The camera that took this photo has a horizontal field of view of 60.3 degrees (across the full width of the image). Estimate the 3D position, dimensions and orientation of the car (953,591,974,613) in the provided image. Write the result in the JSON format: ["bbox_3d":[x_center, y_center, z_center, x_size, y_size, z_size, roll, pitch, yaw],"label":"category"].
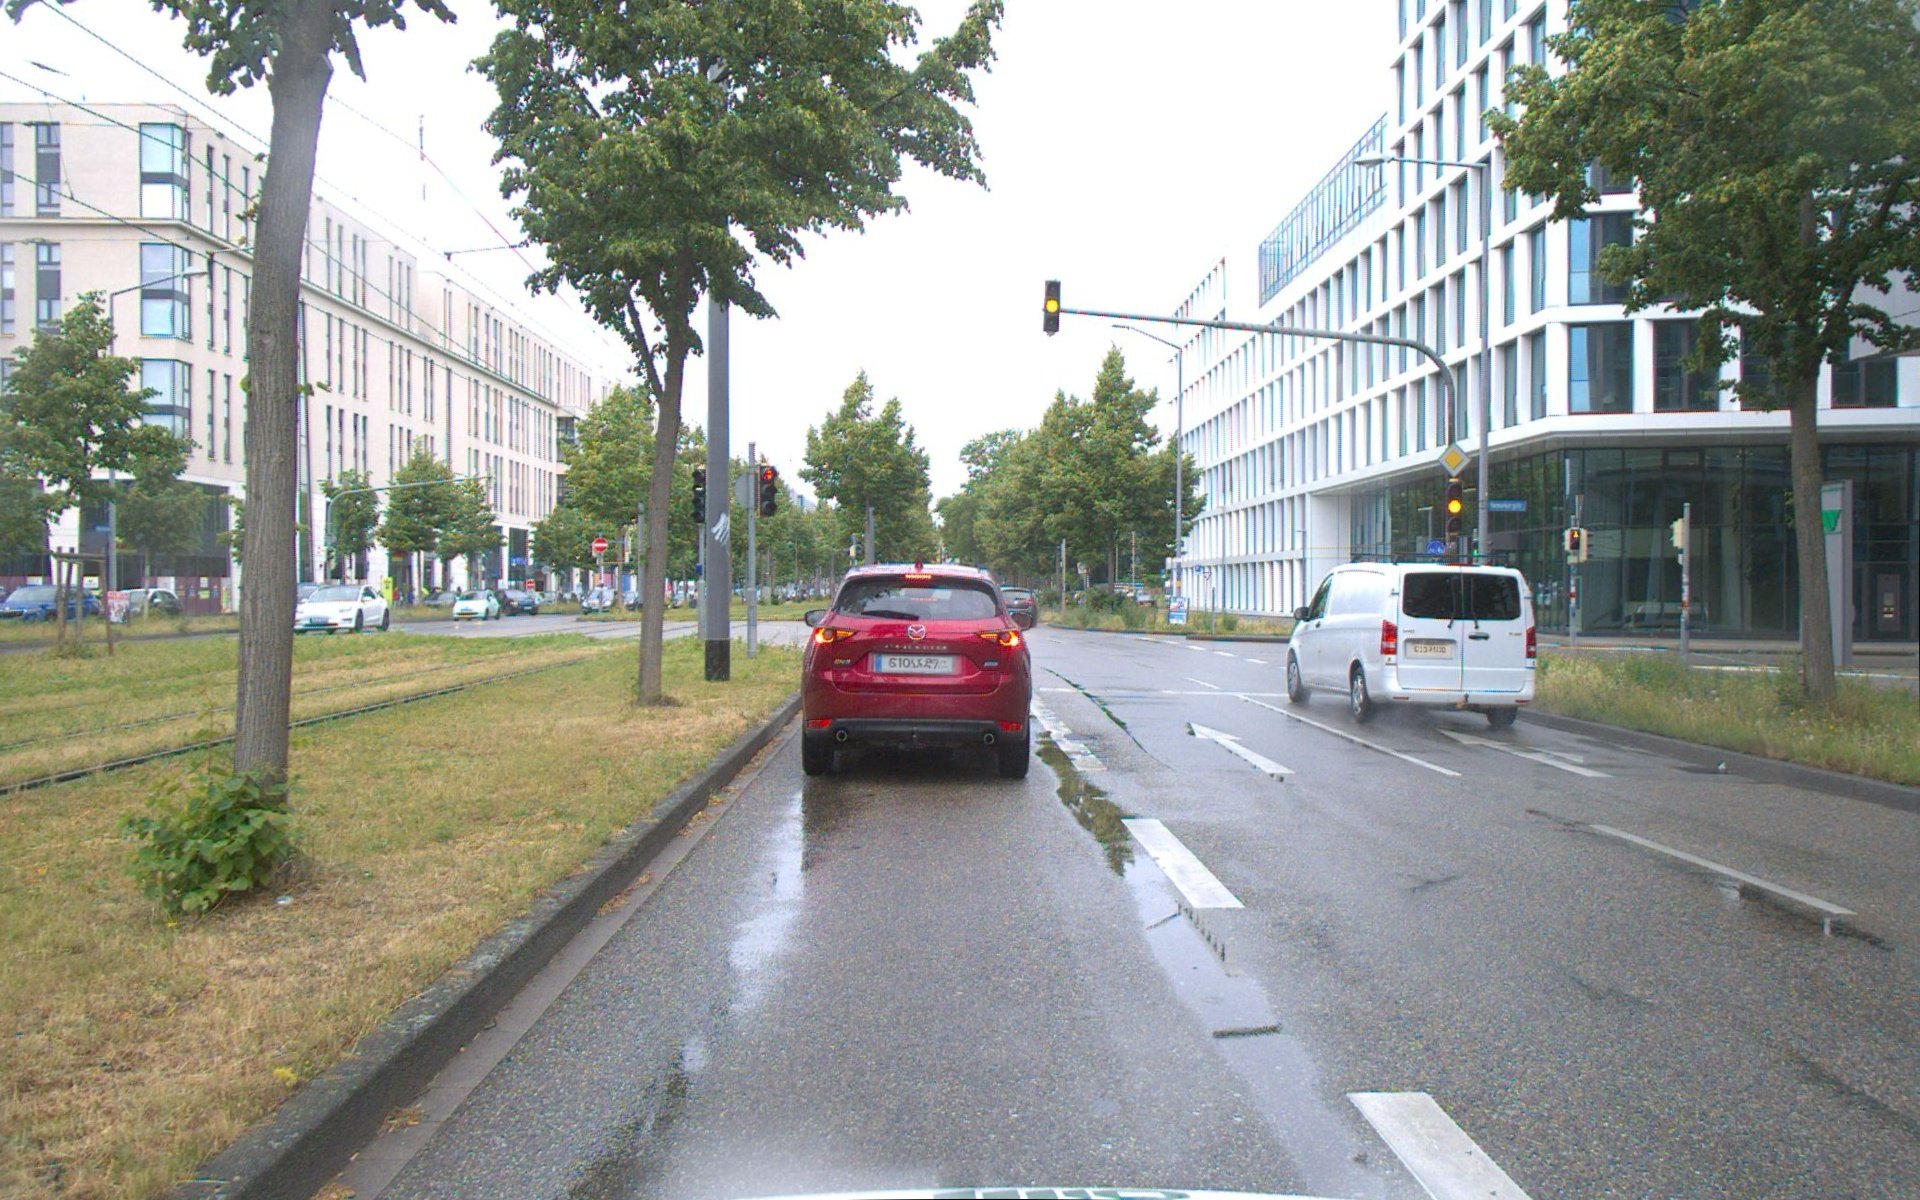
[{"bbox_3d":[0.330,0.161,155.905,1.953,2.049,3.999,0,1,-1],"label":"car"}]

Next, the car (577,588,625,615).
[{"bbox_3d":[-21.242,0.071,98.065,1.953,1.510,4.444,0,0,-2],"label":"car"}]

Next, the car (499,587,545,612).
[{"bbox_3d":[-27.118,-0.048,102.593,1.954,1.510,4.442,0,1,-4],"label":"car"}]

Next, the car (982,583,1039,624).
[{"bbox_3d":[1.908,0.113,63.393,1.710,1.490,3.777,0,1,-5],"label":"car"}]

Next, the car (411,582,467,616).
[{"bbox_3d":[-29.590,-0.082,94.035,1.953,1.870,3.999,1,1,-2],"label":"car"}]

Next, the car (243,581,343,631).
[{"bbox_3d":[-22.734,0.176,56.501,1.954,1.646,3.998,0,1,-3],"label":"car"}]

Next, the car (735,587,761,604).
[{"bbox_3d":[-19.610,-0.420,153.237,1.953,1.510,4.444,0,0,-2],"label":"car"}]

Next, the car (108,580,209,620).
[{"bbox_3d":[-31.705,-0.036,65.591,1.953,1.510,4.444,1,1,-2],"label":"car"}]

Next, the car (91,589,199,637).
[{"bbox_3d":[-29.160,0.426,59.332,1.955,1.626,4.441,1,1,-5],"label":"car"}]

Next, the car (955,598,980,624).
[{"bbox_3d":[0.581,0.881,135.062,1.953,2.049,3.999,0,1,-1],"label":"car"}]

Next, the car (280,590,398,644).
[{"bbox_3d":[-18.574,0.477,49.663,1.953,1.510,4.444,1,1,-2],"label":"car"}]

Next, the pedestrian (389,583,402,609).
[{"bbox_3d":[-38.549,-0.256,112.943,0.622,1.747,0.742,1,0,1],"label":"pedestrian"}]

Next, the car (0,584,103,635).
[{"bbox_3d":[-28.877,0.276,51.905,1.955,1.510,4.441,1,1,-5],"label":"car"}]

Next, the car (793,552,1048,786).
[{"bbox_3d":[-0.341,0.490,14.184,1.860,1.706,3.999,1,1,-2],"label":"car"}]

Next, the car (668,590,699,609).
[{"bbox_3d":[-23.460,-0.072,140.378,1.953,1.510,4.445,0,0,-1],"label":"car"}]

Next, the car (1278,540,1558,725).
[{"bbox_3d":[5.533,0.361,20.743,1.928,2.014,5.089,1,0,-2],"label":"car"}]

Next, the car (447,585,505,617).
[{"bbox_3d":[-23.791,0.014,81.386,1.955,1.510,4.440,0,0,-6],"label":"car"}]
